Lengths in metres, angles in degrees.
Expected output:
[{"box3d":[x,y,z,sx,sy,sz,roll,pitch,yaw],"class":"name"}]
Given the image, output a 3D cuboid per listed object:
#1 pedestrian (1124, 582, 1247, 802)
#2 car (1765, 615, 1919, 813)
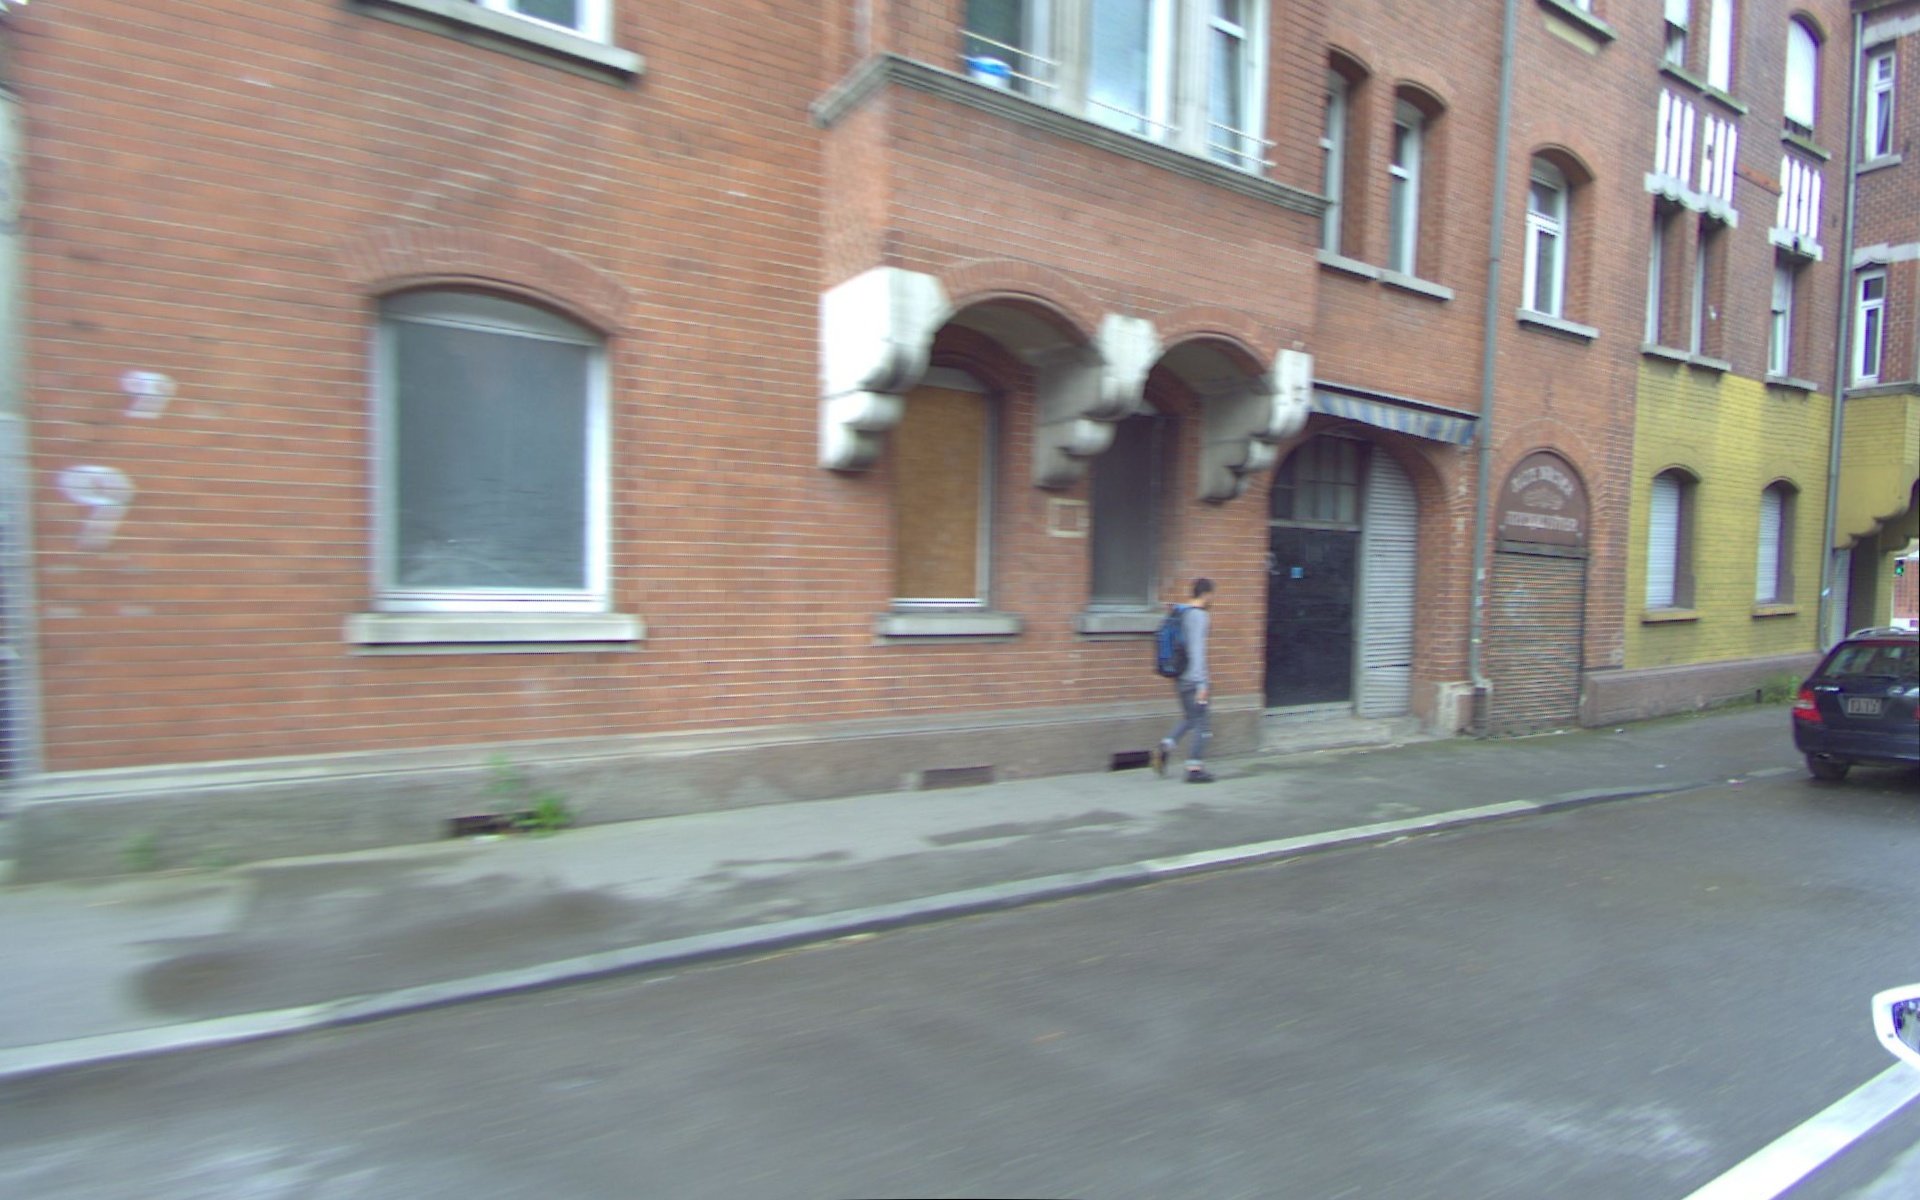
[{"box3d":[1.783,0.690,7.986,0.625,1.631,0.656,0,3,-30],"class":"pedestrian"},{"box3d":[9.748,0.972,9.622,4.338,1.506,1.716,-1,3,-30],"class":"car"}]
